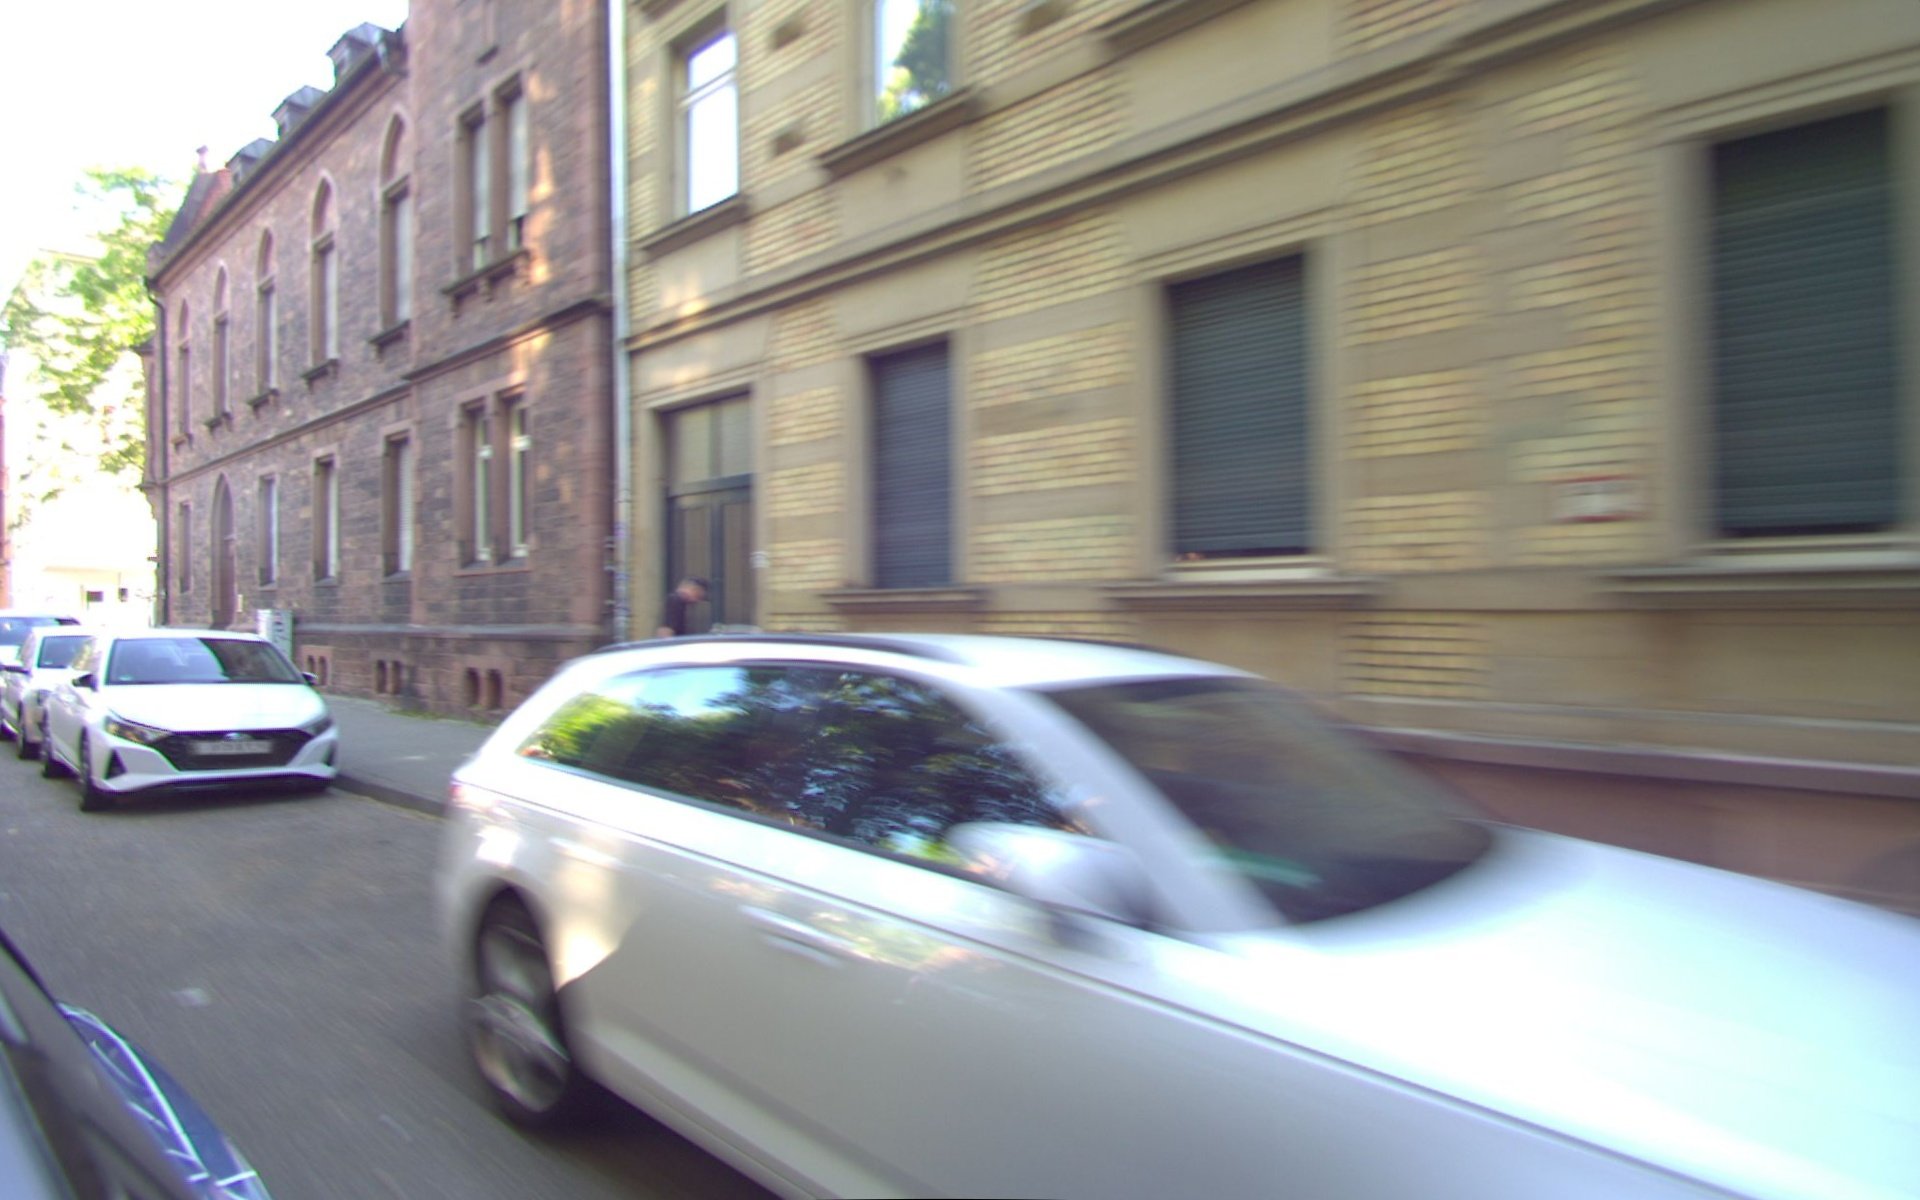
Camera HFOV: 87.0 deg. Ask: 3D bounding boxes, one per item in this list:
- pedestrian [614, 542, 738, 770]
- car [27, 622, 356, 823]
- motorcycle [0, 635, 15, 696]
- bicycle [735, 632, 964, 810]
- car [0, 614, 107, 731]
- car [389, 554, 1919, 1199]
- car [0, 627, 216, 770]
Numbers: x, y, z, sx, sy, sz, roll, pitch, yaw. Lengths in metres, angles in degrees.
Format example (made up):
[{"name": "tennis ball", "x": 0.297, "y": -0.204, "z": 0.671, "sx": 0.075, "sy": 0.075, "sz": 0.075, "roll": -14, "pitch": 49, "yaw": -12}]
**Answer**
[{"name": "pedestrian", "x": -2.571, "y": 0.478, "z": 9.168, "sx": 0.762, "sy": 1.943, "sz": 0.759, "roll": -1, "pitch": -1, "yaw": 37}, {"name": "car", "x": -7.155, "y": 0.956, "z": 9.286, "sx": 3.802, "sy": 1.428, "sz": 1.690, "roll": -1, "pitch": -3, "yaw": 42}, {"name": "motorcycle", "x": -20.971, "y": 1.350, "z": 20.826, "sx": 2.292, "sy": 1.260, "sz": 0.702, "roll": 0, "pitch": -1, "yaw": -4}, {"name": "bicycle", "x": -0.875, "y": 0.839, "z": 7.617, "sx": 1.843, "sy": 1.156, "sz": 0.564, "roll": -1, "pitch": 2, "yaw": 41}, {"name": "car", "x": -15.227, "y": 1.077, "z": 16.275, "sx": 4.277, "sy": 1.687, "sz": 1.690, "roll": -1, "pitch": -3, "yaw": 42}, {"name": "car", "x": 0.350, "y": 0.748, "z": 2.571, "sx": 4.519, "sy": 1.467, "sz": 1.712, "roll": -1, "pitch": -3, "yaw": 41}, {"name": "car", "x": -10.608, "y": 1.086, "z": 12.351, "sx": 3.802, "sy": 1.428, "sz": 1.690, "roll": -1, "pitch": -3, "yaw": 42}]
